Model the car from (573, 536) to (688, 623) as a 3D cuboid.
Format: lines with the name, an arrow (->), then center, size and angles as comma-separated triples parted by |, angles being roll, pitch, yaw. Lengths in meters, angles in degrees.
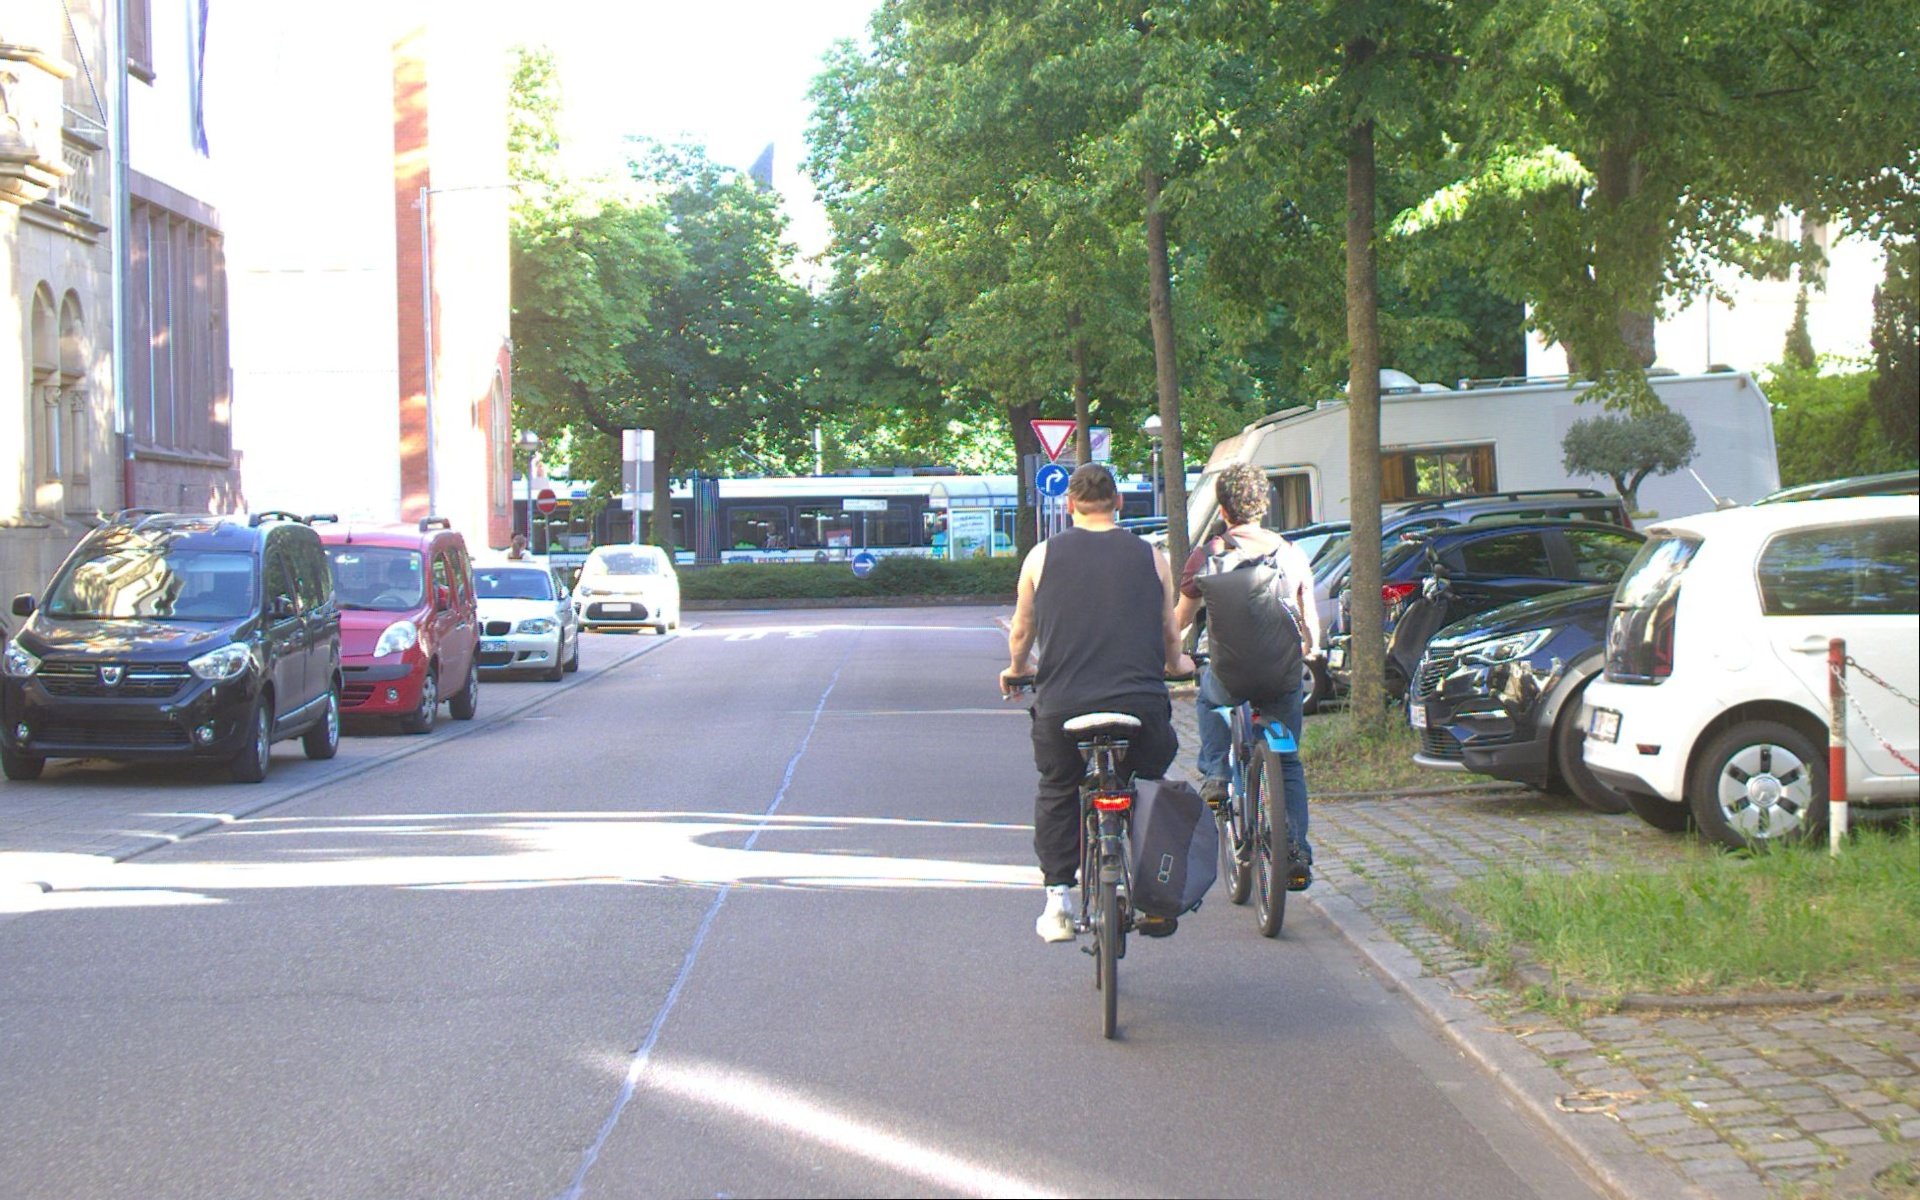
car -> -5.651, -0.375, 59.328 | 1.583, 1.371, 4.131 | 1, 2, 0

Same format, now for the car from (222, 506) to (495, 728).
car -> -5.306, 0.086, 30.808 | 1.688, 1.819, 4.273 | 1, 2, 0

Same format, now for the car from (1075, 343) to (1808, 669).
car -> 4.939, -0.977, 36.068 | 7.146, 2.968, 2.465 | -3, 1, -3

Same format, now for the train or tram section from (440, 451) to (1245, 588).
train or tram section -> -3.174, -2.270, 101.761 | 23.800, 3.696, 4.287 | 0, 0, -23

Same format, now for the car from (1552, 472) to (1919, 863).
car -> 4.642, 0.242, 15.110 | 3.773, 1.594, 1.691 | -1, 0, 1

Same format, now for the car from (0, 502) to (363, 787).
car -> -5.361, 0.221, 23.942 | 1.640, 1.777, 4.354 | 1, 2, 0

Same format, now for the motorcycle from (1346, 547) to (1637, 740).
motorcycle -> 3.247, 0.263, 21.057 | 1.606, 1.137, 0.671 | -1, 1, 33

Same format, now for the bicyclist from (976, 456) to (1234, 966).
bicyclist -> 0.445, 0.336, 10.906 | 0.729, 1.542, 0.885 | 1, 0, -2

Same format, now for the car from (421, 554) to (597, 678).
car -> -5.416, 0.155, 41.667 | 1.583, 1.339, 4.131 | 1, 2, 0

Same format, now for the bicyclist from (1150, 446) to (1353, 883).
bicyclist -> 1.109, 0.232, 13.261 | 0.689, 1.621, 0.998 | 0, 1, 0

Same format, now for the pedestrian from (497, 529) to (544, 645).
pedestrian -> -6.387, -0.185, 50.020 | 0.609, 1.673, 0.518 | 0, 0, 0

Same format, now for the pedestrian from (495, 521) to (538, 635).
pedestrian -> -6.879, -0.336, 53.367 | 0.609, 1.756, 0.432 | 0, 0, 0

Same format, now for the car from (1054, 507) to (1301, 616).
car -> 3.659, -0.647, 58.308 | 3.986, 1.797, 1.834 | 0, 0, -3

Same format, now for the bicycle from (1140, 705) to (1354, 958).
bicycle -> 1.082, 0.864, 13.304 | 0.633, 0.796, 1.833 | -1, 1, -1

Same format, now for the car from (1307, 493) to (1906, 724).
car -> 4.838, 0.069, 26.073 | 4.138, 1.594, 1.702 | -1, -1, -3

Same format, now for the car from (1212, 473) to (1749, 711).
car -> 4.282, -0.079, 28.665 | 4.082, 1.644, 1.641 | -4, 1, -2

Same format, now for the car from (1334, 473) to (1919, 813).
car -> 4.095, 0.203, 17.685 | 4.139, 1.594, 1.702 | -1, -1, 1

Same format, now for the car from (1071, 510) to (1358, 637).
car -> 3.700, -0.388, 50.423 | 3.986, 1.797, 1.834 | 0, 0, -3

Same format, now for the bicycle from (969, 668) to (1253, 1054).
bicycle -> 0.437, 0.772, 10.885 | 0.737, 1.050, 1.956 | 1, 0, -2

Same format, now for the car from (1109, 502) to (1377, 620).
car -> 4.431, -0.609, 54.179 | 3.986, 1.797, 1.834 | 0, 0, -3
